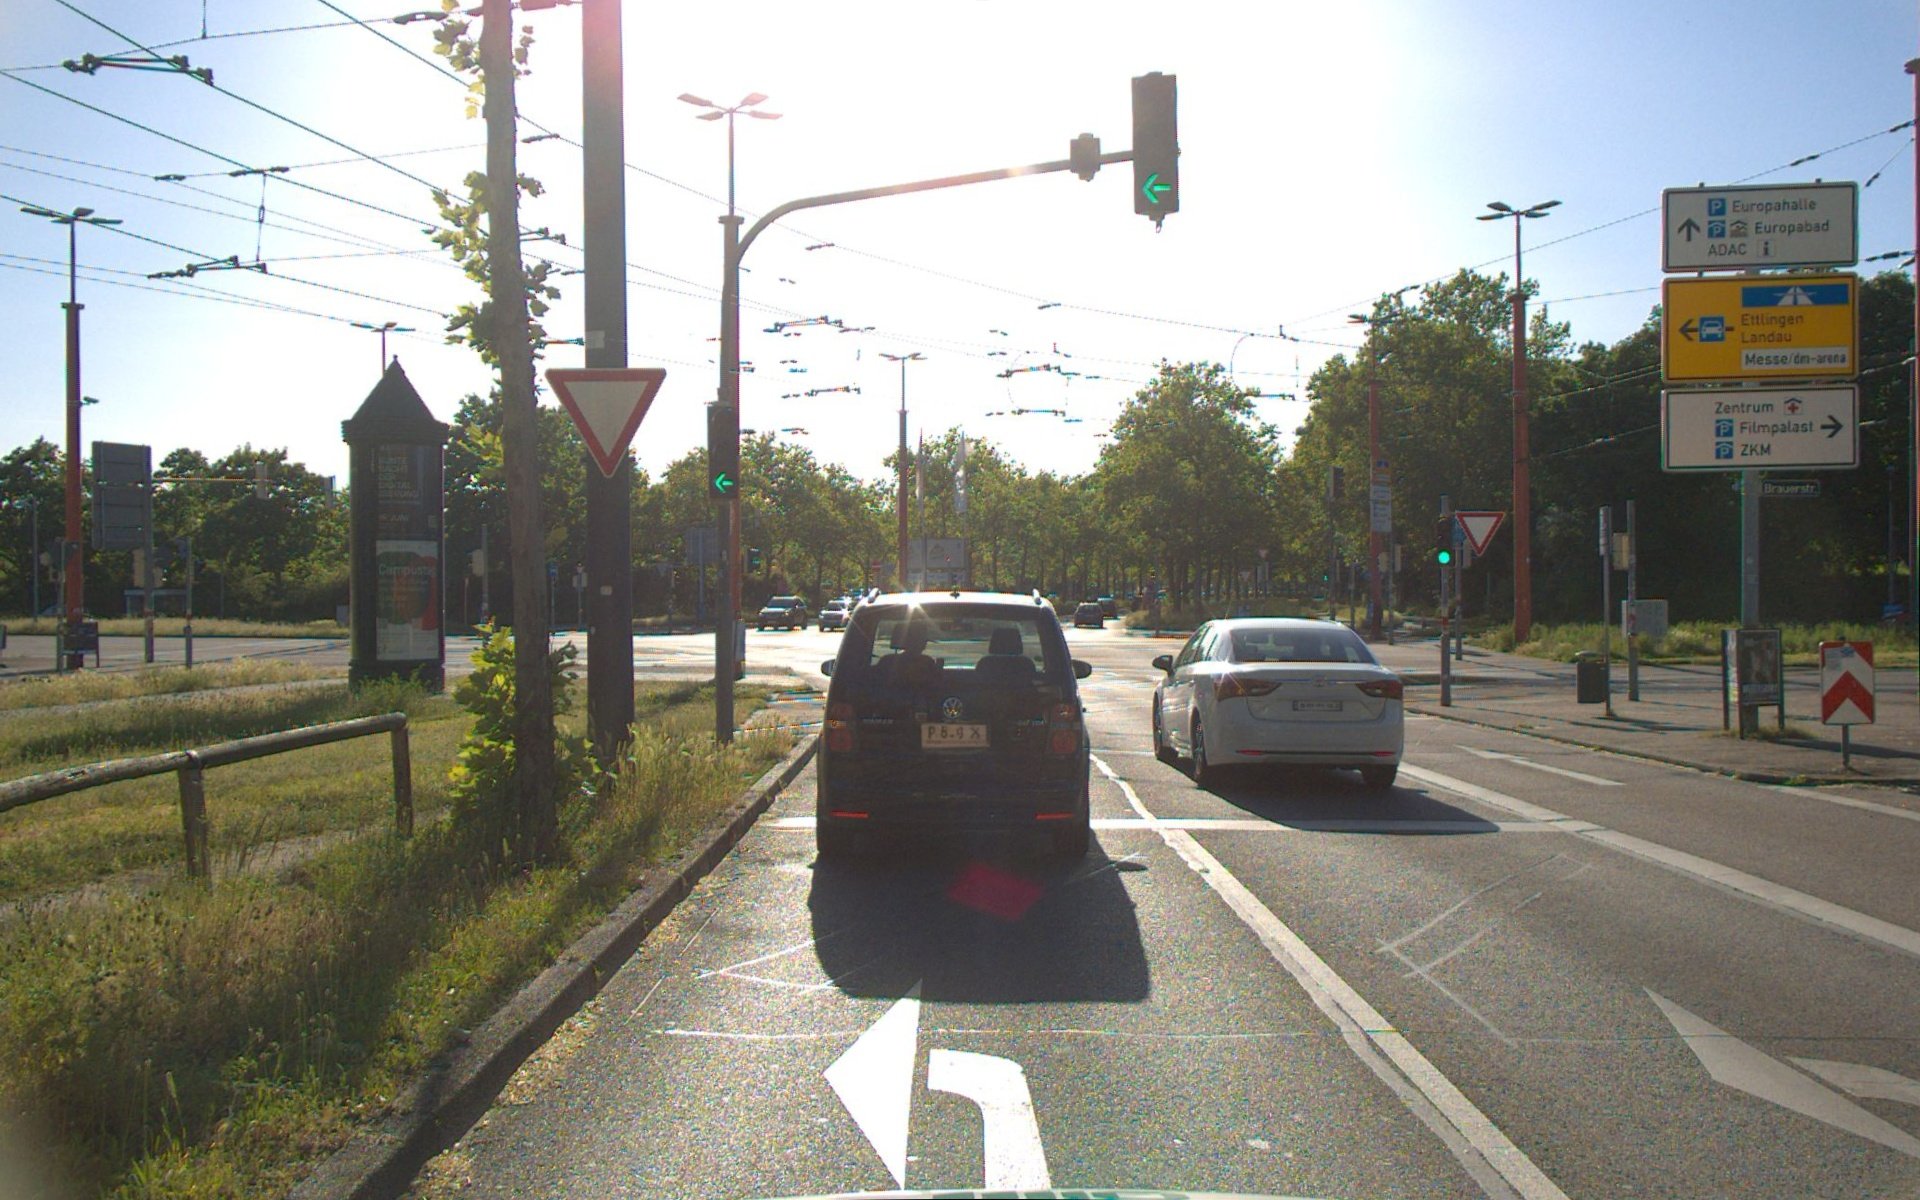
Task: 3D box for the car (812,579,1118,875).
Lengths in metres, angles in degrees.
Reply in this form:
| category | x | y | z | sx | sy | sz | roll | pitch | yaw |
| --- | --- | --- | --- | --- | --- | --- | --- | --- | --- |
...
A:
| category | x | y | z | sx | sy | sz | roll | pitch | yaw |
| --- | --- | --- | --- | --- | --- | --- | --- | --- | --- |
| car | -0.009 | 0.710 | 11.845 | 1.731 | 1.673 | 4.922 | 0 | 0 | -1 |

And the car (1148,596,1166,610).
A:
| category | x | y | z | sx | sy | sz | roll | pitch | yaw |
| --- | --- | --- | --- | --- | --- | --- | --- | --- | --- |
| car | 21.761 | 0.313 | 183.015 | 1.752 | 1.412 | 4.051 | 1 | 0 | 3 |

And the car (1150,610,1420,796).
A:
| category | x | y | z | sx | sy | sz | roll | pitch | yaw |
| --- | --- | --- | --- | --- | --- | --- | --- | --- | --- |
| car | 2.924 | 0.858 | 15.784 | 1.731 | 1.489 | 4.366 | 0 | 0 | 0 |

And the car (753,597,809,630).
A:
| category | x | y | z | sx | sy | sz | roll | pitch | yaw |
| --- | --- | --- | --- | --- | --- | --- | --- | --- | --- |
| car | -9.751 | 0.720 | 90.352 | 1.861 | 1.757 | 4.657 | 0 | 0 | 9 |

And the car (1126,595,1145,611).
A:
| category | x | y | z | sx | sy | sz | roll | pitch | yaw |
| --- | --- | --- | --- | --- | --- | --- | --- | --- | --- |
| car | 17.140 | 0.307 | 161.596 | 1.752 | 1.528 | 4.052 | 1 | 0 | 5 |

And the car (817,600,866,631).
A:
| category | x | y | z | sx | sy | sz | roll | pitch | yaw |
| --- | --- | --- | --- | --- | --- | --- | --- | --- | --- |
| car | -6.287 | 0.806 | 88.075 | 1.730 | 1.565 | 4.094 | 0 | 0 | 8 |

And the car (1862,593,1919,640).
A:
| category | x | y | z | sx | sy | sz | roll | pitch | yaw |
| --- | --- | --- | --- | --- | --- | --- | --- | --- | --- |
| car | 32.428 | 0.537 | 54.991 | 4.192 | 1.521 | 1.998 | 0 | 0 | 27 |

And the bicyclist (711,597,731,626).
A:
| category | x | y | z | sx | sy | sz | roll | pitch | yaw |
| --- | --- | --- | --- | --- | --- | --- | --- | --- | --- |
| bicyclist | -13.114 | 0.619 | 90.900 | 0.743 | 1.585 | 0.982 | -1 | 1 | 16 |

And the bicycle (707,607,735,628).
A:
| category | x | y | z | sx | sy | sz | roll | pitch | yaw |
| --- | --- | --- | --- | --- | --- | --- | --- | --- | --- |
| bicycle | -13.133 | 0.953 | 90.824 | 0.747 | 1.110 | 2.017 | -1 | 1 | 16 |

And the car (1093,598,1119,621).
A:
| category | x | y | z | sx | sy | sz | roll | pitch | yaw |
| --- | --- | --- | --- | --- | --- | --- | --- | --- | --- |
| car | 10.967 | 0.732 | 124.575 | 1.833 | 1.655 | 4.002 | 1 | -1 | 4 |

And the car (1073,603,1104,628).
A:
| category | x | y | z | sx | sy | sz | roll | pitch | yaw |
| --- | --- | --- | --- | --- | --- | --- | --- | --- | --- |
| car | 7.700 | 0.923 | 99.141 | 1.752 | 1.412 | 4.052 | 1 | 0 | 5 |
